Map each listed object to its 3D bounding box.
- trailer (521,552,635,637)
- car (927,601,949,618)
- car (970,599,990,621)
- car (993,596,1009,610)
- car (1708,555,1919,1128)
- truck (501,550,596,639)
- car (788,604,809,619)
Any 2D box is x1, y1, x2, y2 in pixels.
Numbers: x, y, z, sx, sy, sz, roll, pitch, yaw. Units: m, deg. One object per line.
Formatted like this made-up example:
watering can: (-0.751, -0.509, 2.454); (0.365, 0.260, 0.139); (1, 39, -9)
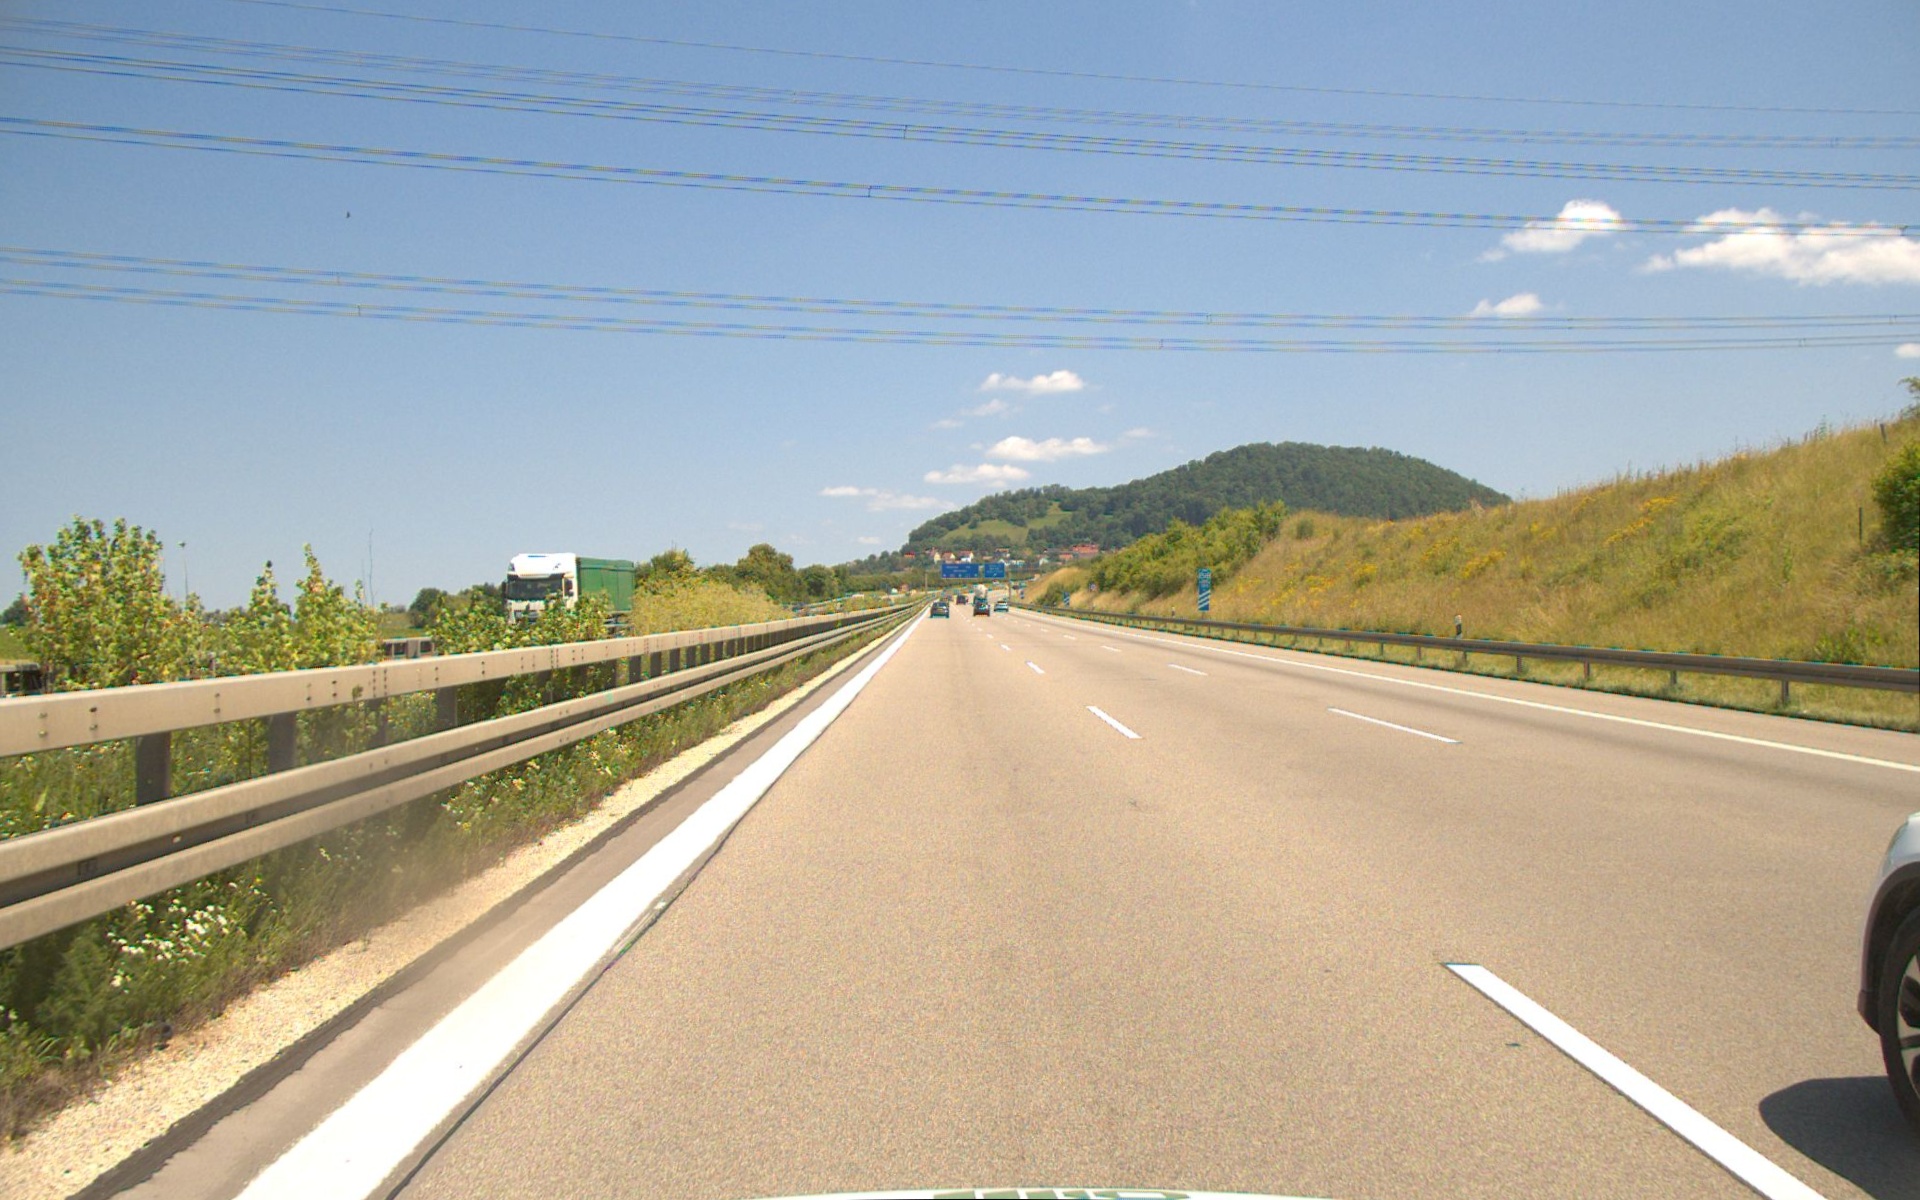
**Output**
trailer: (-17.742, -0.181, 77.808); (2.698, 3.657, 12.532); (1, -1, -1)
car: (-1.941, 0.865, 147.749); (1.953, 1.413, 4.000); (1, -1, 0)
car: (1.970, 1.005, 164.531); (1.953, 2.049, 4.000); (1, -1, 0)
car: (5.286, 0.392, 215.621); (1.953, 1.850, 4.000); (-1, 0, 0)
car: (3.664, 0.681, 3.324); (1.875, 1.608, 5.229); (1, -1, -1)
truck: (-17.580, -0.215, 70.977); (2.668, 3.621, 5.898); (1, -1, -2)
car: (-17.620, 1.214, 180.183); (1.908, 1.570, 4.285); (1, -1, -1)
